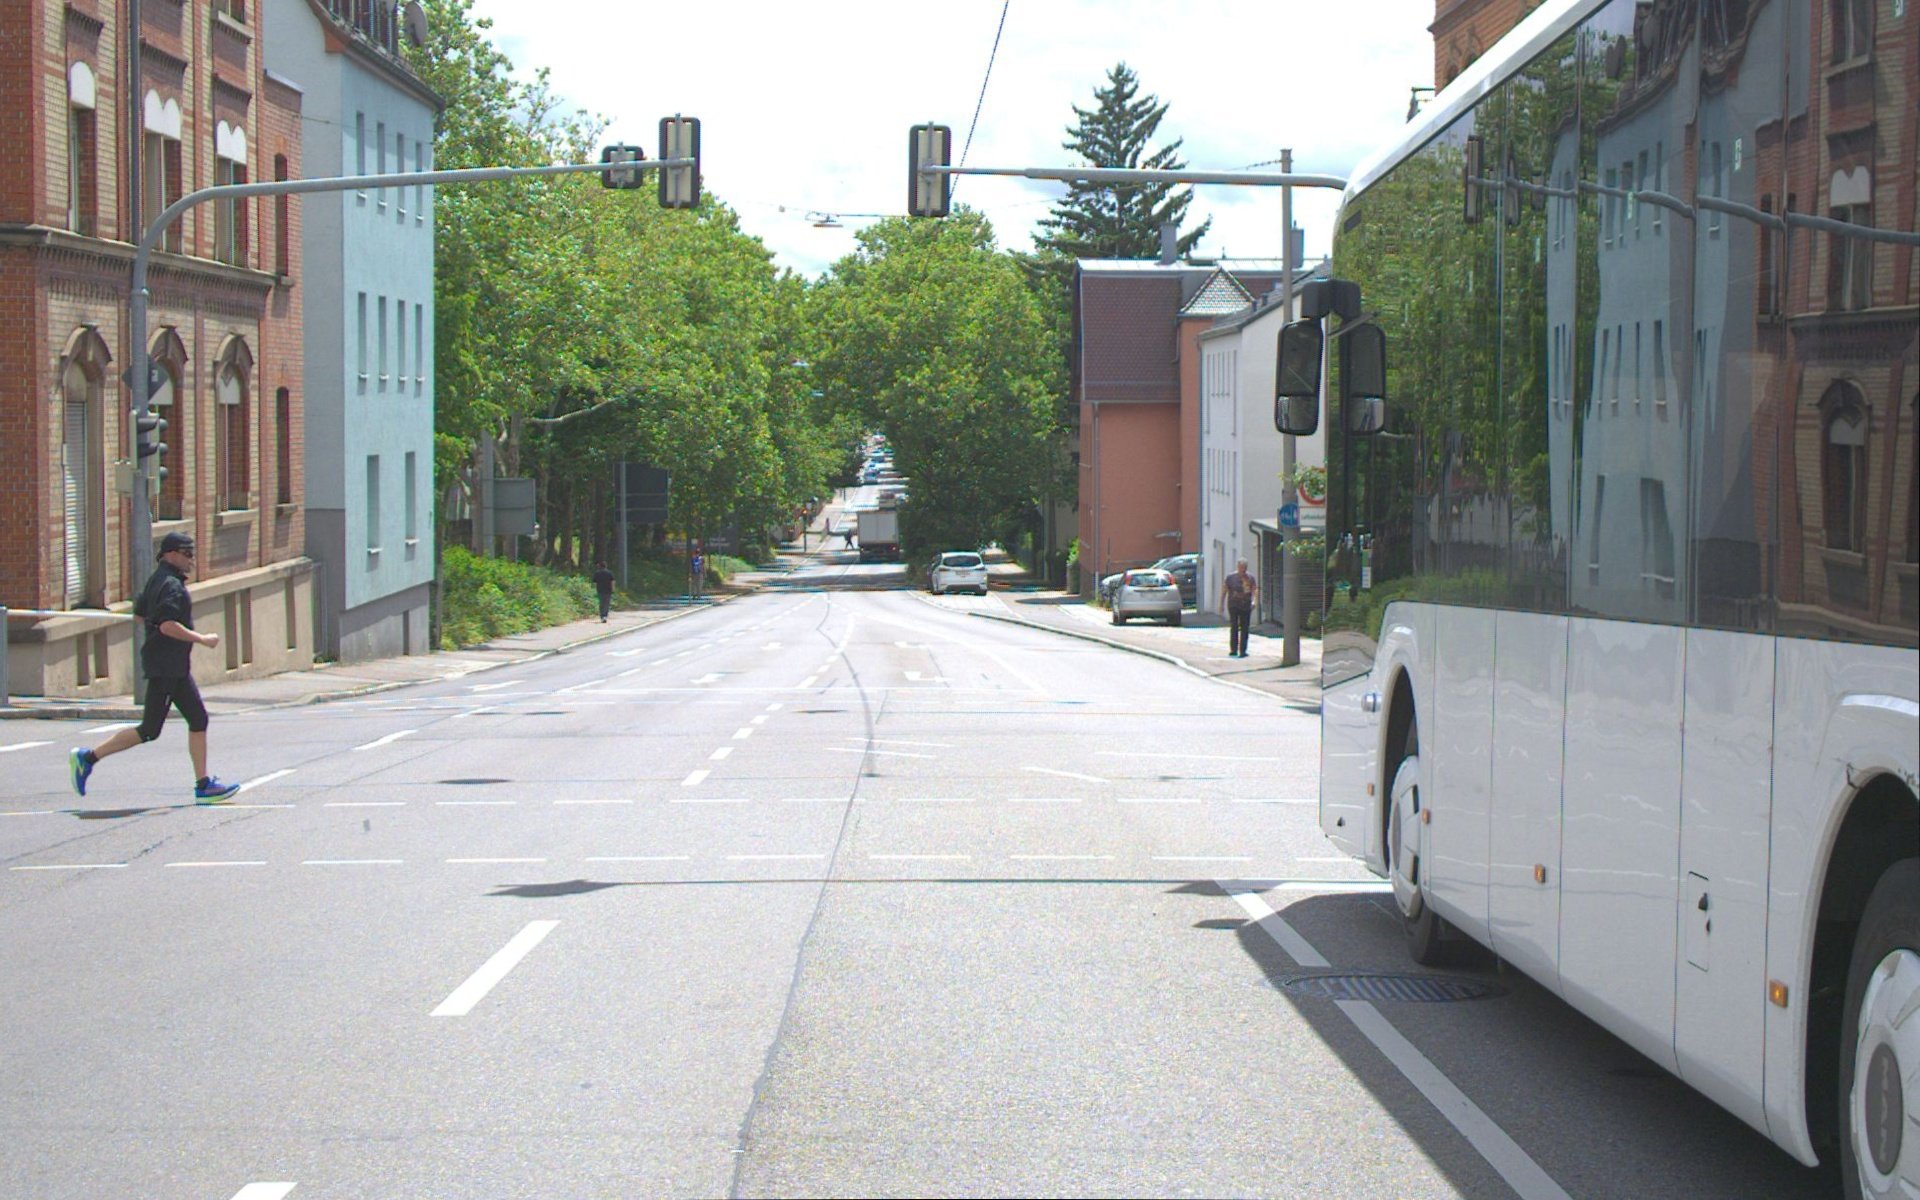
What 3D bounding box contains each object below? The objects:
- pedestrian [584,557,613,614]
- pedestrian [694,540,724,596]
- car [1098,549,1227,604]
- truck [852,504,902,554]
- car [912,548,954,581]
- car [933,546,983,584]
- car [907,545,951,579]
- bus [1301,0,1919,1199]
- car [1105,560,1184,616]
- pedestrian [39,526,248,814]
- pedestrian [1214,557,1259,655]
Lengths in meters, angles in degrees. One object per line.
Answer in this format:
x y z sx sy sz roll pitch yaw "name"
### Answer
-9.887 -0.397 93.953 0.729 1.560 0.561 0 1 -1 "pedestrian"
-9.144 -1.161 125.263 0.995 2.007 1.189 -1 1 -1 "pedestrian"
6.658 -0.789 113.163 3.986 1.751 2.000 -1 1 -5 "car"
-5.312 -4.558 219.526 2.926 3.070 7.886 -1 1 -3 "truck"
-1.188 -1.598 153.926 1.794 1.405 4.419 1 1 0 "car"
-0.089 -1.315 129.463 1.794 1.405 4.000 1 1 -1 "car"
-1.286 -1.597 146.245 1.794 1.405 4.419 1 1 0 "car"
2.933 -0.237 9.260 2.672 3.145 12.462 0 1 0 "bus"
4.982 -0.339 93.065 1.794 1.405 4.001 -1 1 -2 "car"
-5.011 0.417 21.153 1.140 1.728 0.759 0 1 -5 "pedestrian"
5.006 0.109 62.193 0.738 1.744 0.619 -1 1 -1 "pedestrian"
